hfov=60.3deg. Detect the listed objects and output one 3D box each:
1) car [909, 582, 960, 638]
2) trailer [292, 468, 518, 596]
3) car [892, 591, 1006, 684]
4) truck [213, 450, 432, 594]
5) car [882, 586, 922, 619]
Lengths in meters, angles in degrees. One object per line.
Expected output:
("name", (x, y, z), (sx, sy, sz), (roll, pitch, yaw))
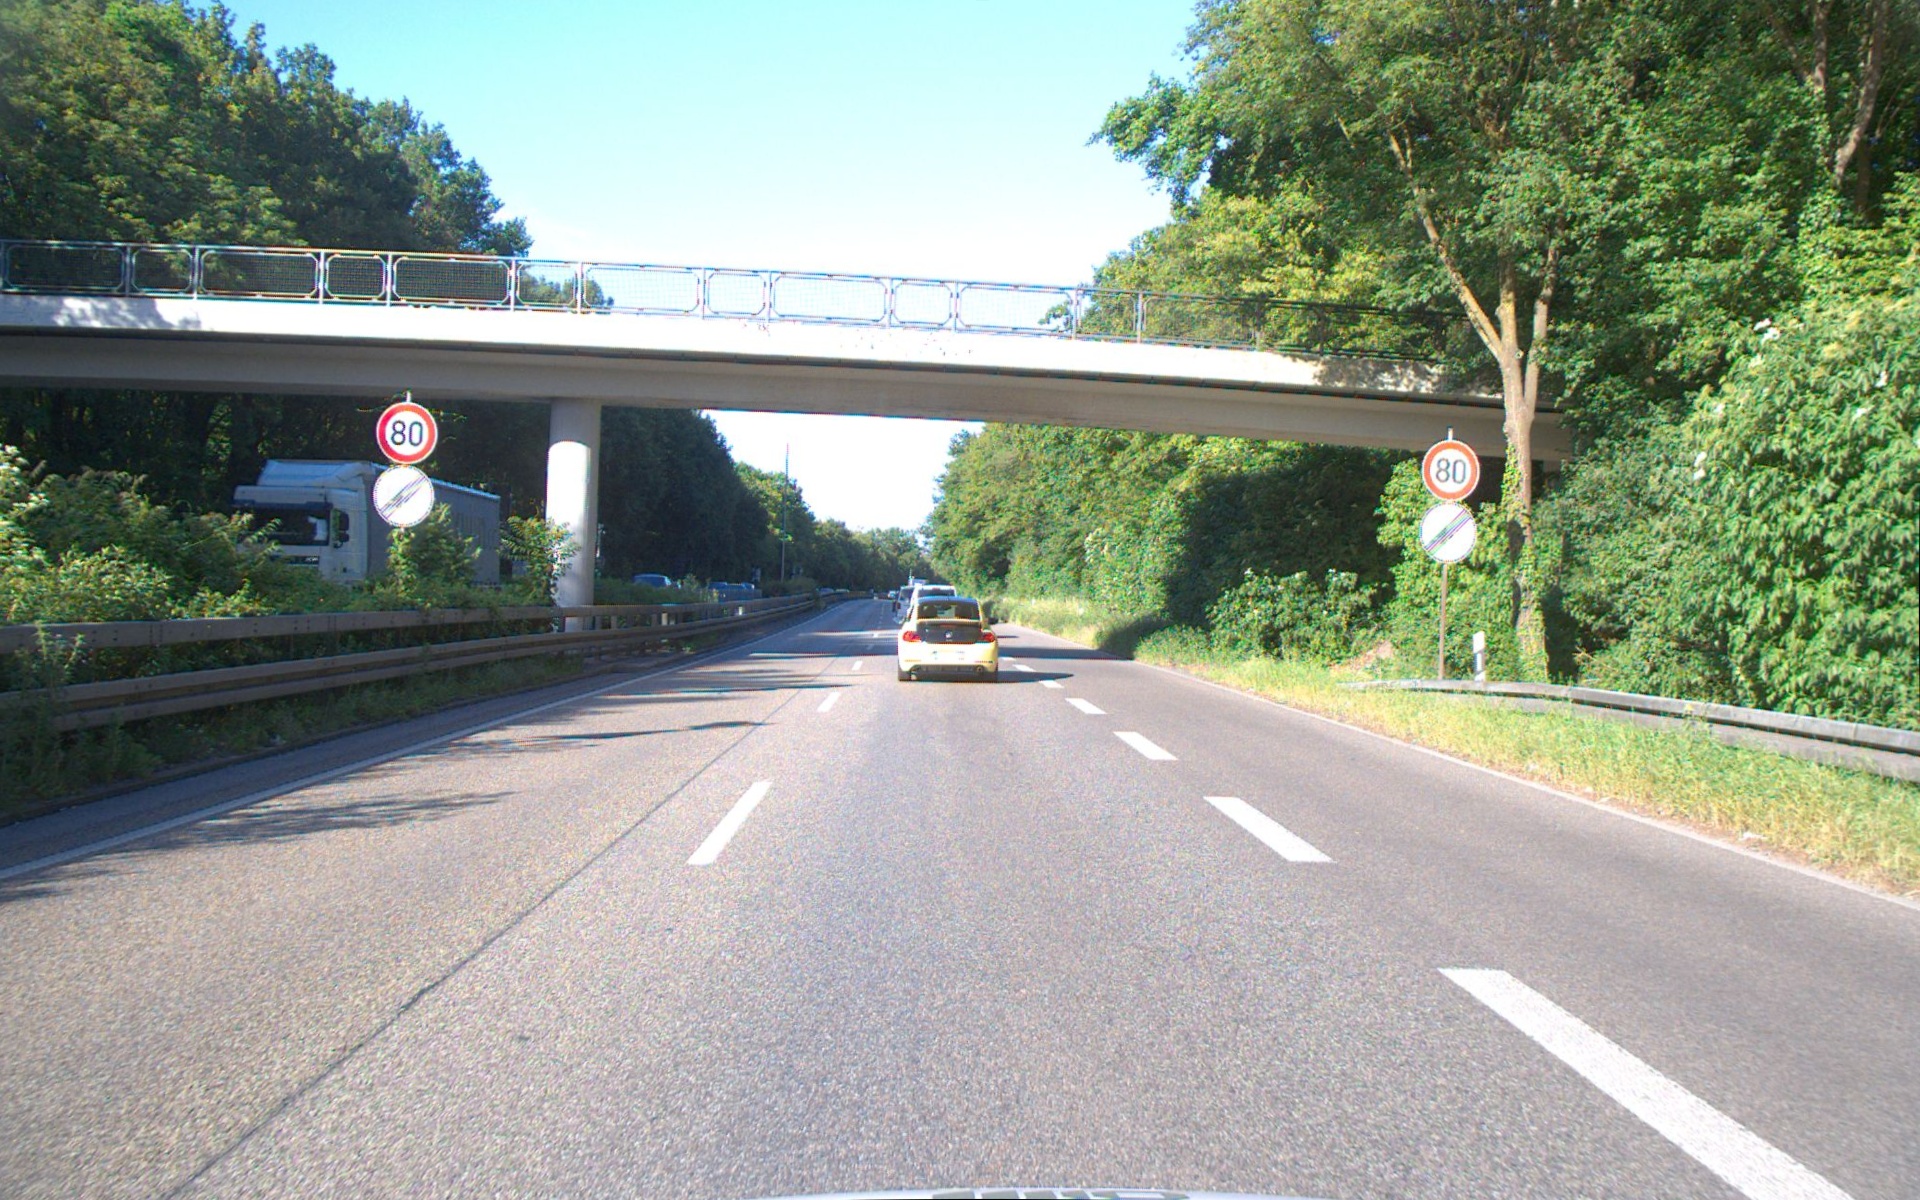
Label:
("car", (-0.878, 0.351, 57.419), (1.706, 1.862, 3.421), (1, 0, -1))
("trailer", (-16.042, -1.785, 49.061), (2.870, 3.223, 11.912), (1, 0, -1))
("car", (-0.146, 0.643, 29.715), (1.899, 1.535, 3.423), (1, 0, 1))
("truck", (-15.878, -1.809, 41.811), (2.870, 3.223, 7.081), (1, 0, -1))
("car", (-2.832, 0.127, 81.293), (1.900, 1.572, 3.421), (1, 0, -1))
